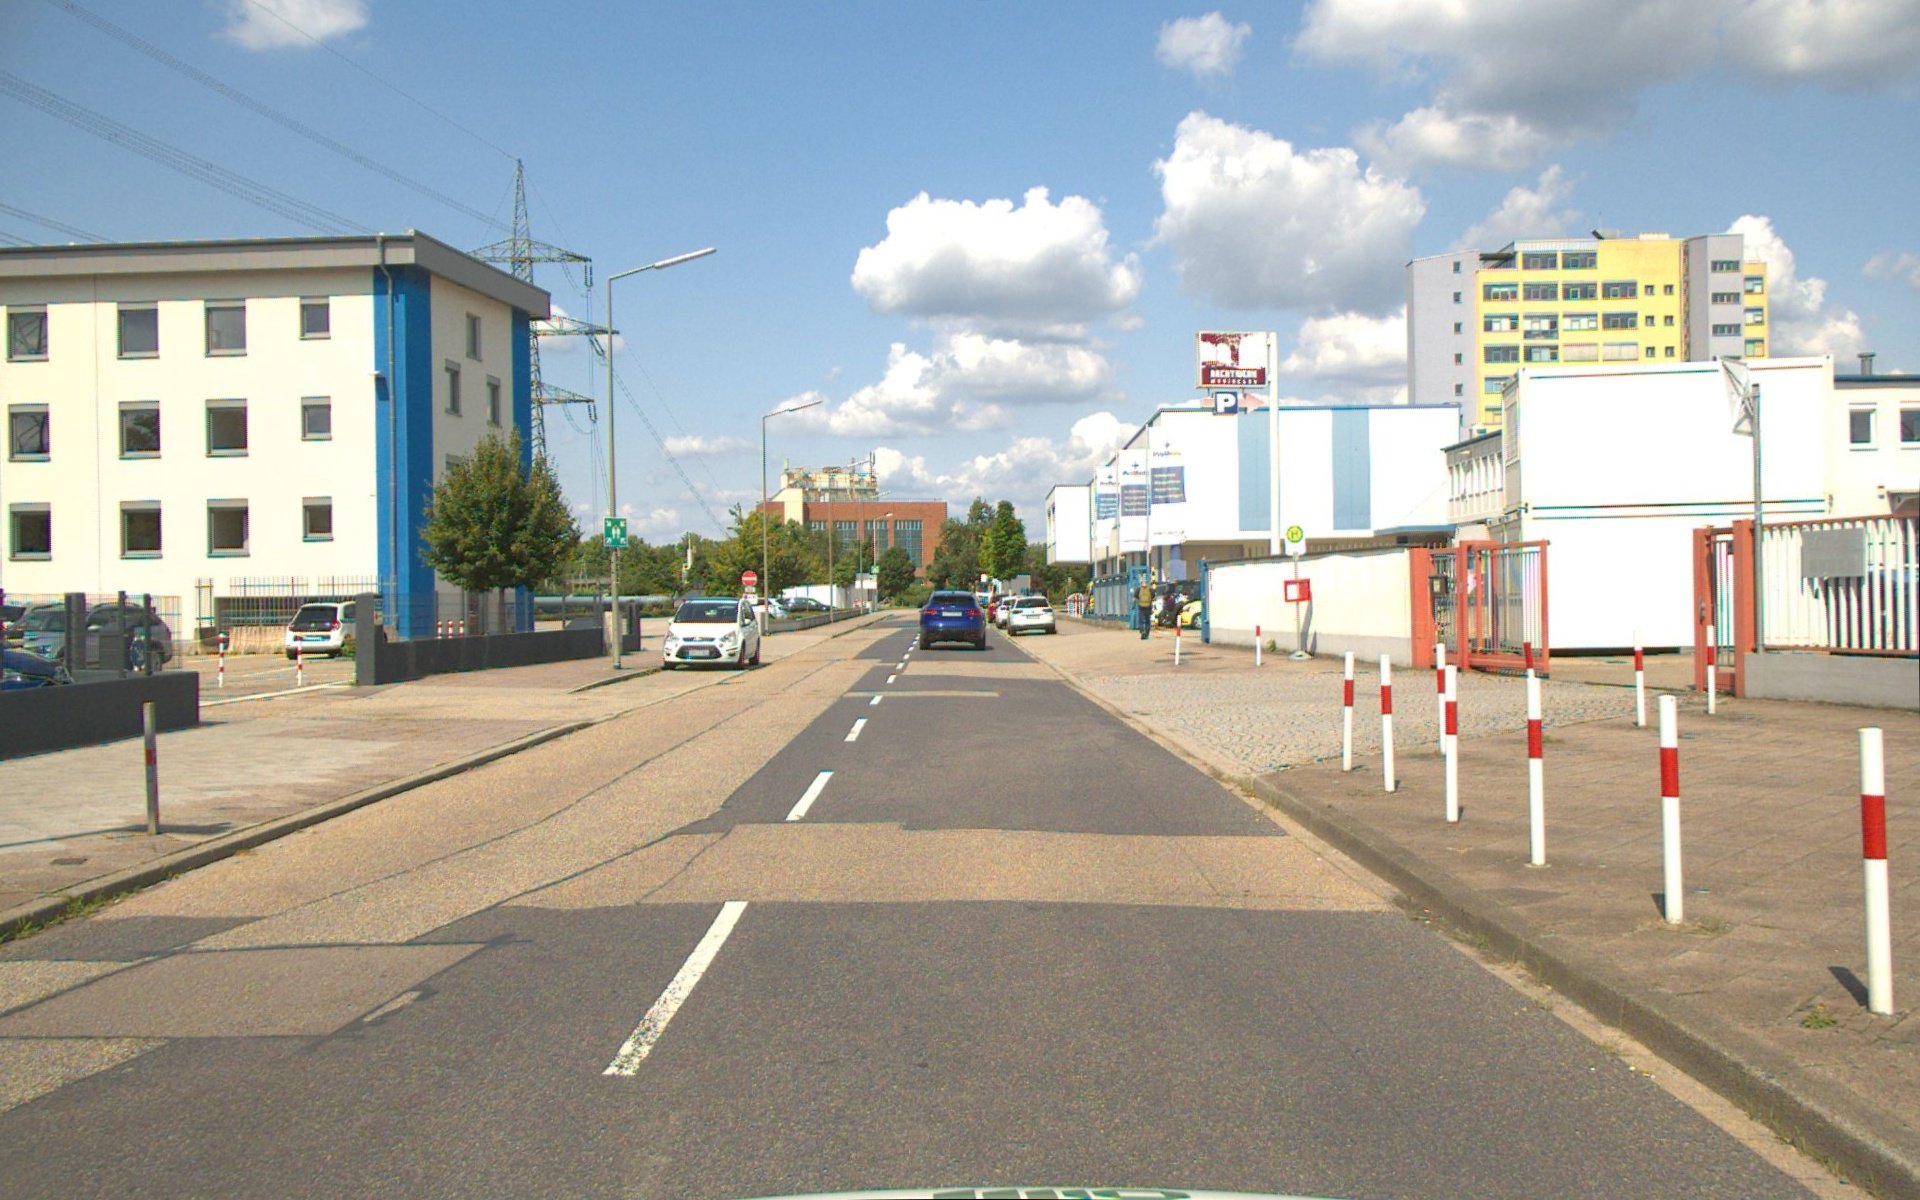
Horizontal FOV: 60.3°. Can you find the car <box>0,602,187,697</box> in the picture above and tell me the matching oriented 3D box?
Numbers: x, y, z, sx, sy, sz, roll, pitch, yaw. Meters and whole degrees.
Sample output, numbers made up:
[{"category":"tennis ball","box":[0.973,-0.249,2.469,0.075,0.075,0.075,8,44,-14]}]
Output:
[{"category":"car","box":[-17.151,0.896,31.812,1.785,1.665,4.848,-2,0,7]}]

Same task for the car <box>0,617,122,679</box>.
[{"category":"car","box":[-26.861,1.388,48.749,1.786,1.684,4.447,-2,0,4]}]

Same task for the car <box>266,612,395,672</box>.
[{"category":"car","box":[-17.422,1.133,45.947,1.833,1.533,3.761,-1,0,6]}]

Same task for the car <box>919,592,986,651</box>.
[{"category":"car","box":[-0.252,0.613,48.776,1.871,1.621,4.700,-1,0,-1]}]

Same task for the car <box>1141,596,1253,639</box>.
[{"category":"car","box":[8.861,0.653,62.112,3.905,1.445,2.000,-2,0,0]}]

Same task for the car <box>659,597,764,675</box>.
[{"category":"car","box":[-5.798,0.806,39.099,1.829,1.738,4.752,0,0,-1]}]

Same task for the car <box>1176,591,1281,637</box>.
[{"category":"car","box":[9.237,0.481,57.045,3.334,1.516,1.791,-1,0,-1]}]

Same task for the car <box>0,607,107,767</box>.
[{"category":"car","box":[-12.070,0.990,18.966,3.574,1.738,1.878,-1,0,-1]}]

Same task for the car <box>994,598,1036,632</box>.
[{"category":"car","box":[2.580,0.716,78.425,1.798,1.547,4.460,-1,0,-1]}]

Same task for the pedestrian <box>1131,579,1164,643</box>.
[{"category":"pedestrian","box":[5.431,0.315,48.002,0.754,1.787,0.787,-3,0,-1]}]

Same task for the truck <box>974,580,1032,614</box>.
[{"category":"truck","box":[4.833,-0.402,183.741,2.278,3.629,9.350,1,2,30]}]

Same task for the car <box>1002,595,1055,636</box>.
[{"category":"car","box":[2.691,0.593,65.840,1.830,1.547,4.597,-1,0,-1]}]

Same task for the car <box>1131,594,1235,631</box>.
[{"category":"car","box":[9.645,0.536,71.794,4.192,1.445,2.000,-2,0,0]}]

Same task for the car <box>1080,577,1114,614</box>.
[{"category":"car","box":[9.533,-0.271,115.073,1.884,2.507,5.259,0,0,0]}]

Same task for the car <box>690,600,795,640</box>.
[{"category":"car","box":[-10.148,0.903,77.442,4.661,1.630,1.998,-3,0,-4]}]

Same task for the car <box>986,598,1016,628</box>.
[{"category":"car","box":[2.412,0.751,97.216,1.718,1.679,4.678,-1,0,1]}]

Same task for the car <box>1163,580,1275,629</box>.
[{"category":"car","box":[9.257,0.160,59.371,3.729,1.709,1.791,-1,0,-1]}]
